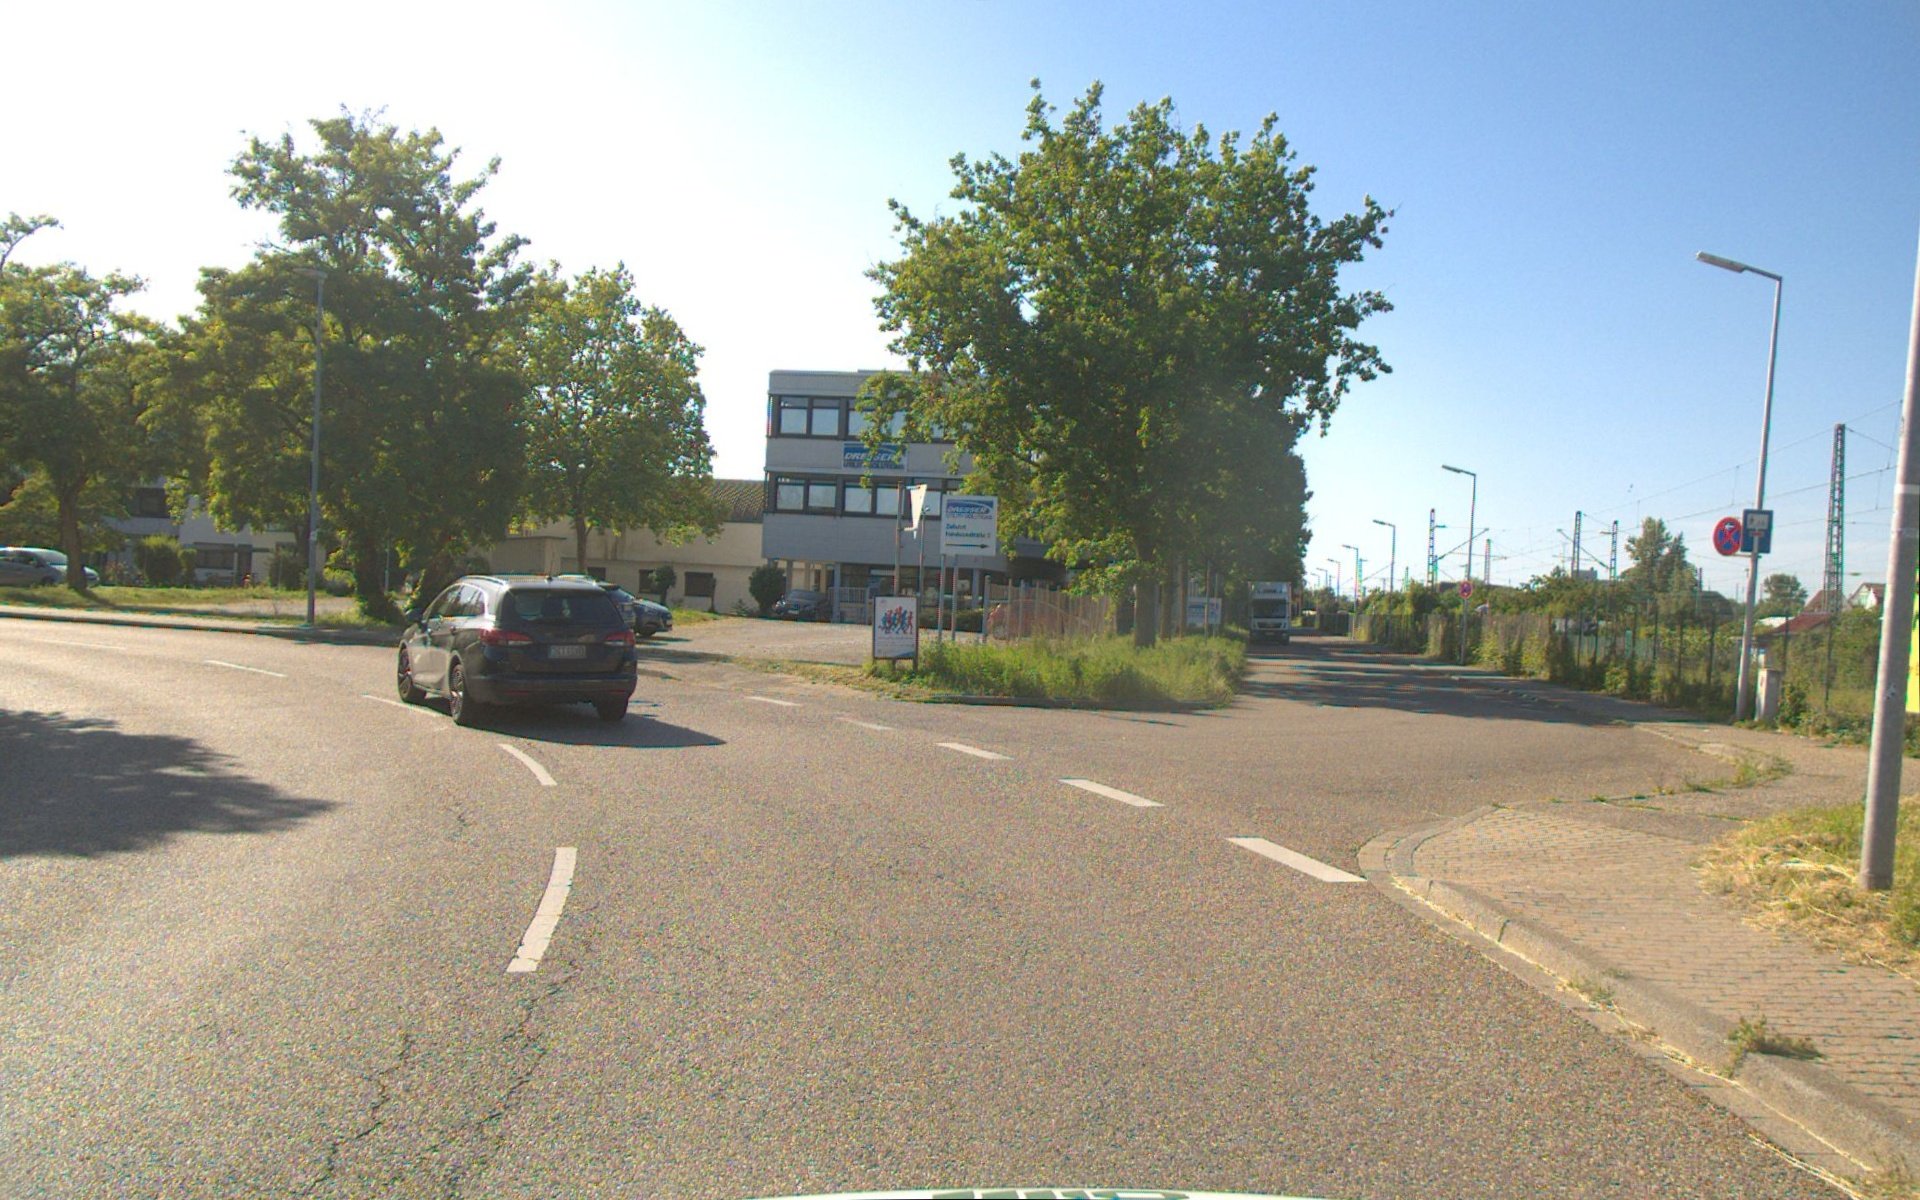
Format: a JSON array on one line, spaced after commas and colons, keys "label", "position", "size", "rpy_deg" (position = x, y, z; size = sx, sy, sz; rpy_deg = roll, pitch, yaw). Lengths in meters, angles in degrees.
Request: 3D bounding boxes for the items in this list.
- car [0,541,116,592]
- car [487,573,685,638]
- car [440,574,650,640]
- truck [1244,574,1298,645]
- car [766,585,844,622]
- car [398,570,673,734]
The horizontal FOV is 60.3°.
[{"label": "car", "position": [-30.942, -1.146, 55.420], "size": [4.810, 1.510, 2.000], "rpy_deg": [3, 0, 21]}, {"label": "car", "position": [-10.176, 0.147, 45.151], "size": [4.806, 1.510, 2.002], "rpy_deg": [3, 0, 10]}, {"label": "car", "position": [-10.646, 0.175, 42.589], "size": [4.806, 1.451, 2.002], "rpy_deg": [3, 0, 10]}, {"label": "truck", "position": [19.114, 0.603, 102.145], "size": [2.558, 3.952, 13.542], "rpy_deg": [3, 0, 8]}, {"label": "car", "position": [-6.886, 0.144, 73.968], "size": [1.951, 1.510, 4.931], "rpy_deg": [3, 1, 13]}, {"label": "car", "position": [-4.739, 0.465, 17.975], "size": [1.920, 1.514, 4.525], "rpy_deg": [1, 1, -27]}]
